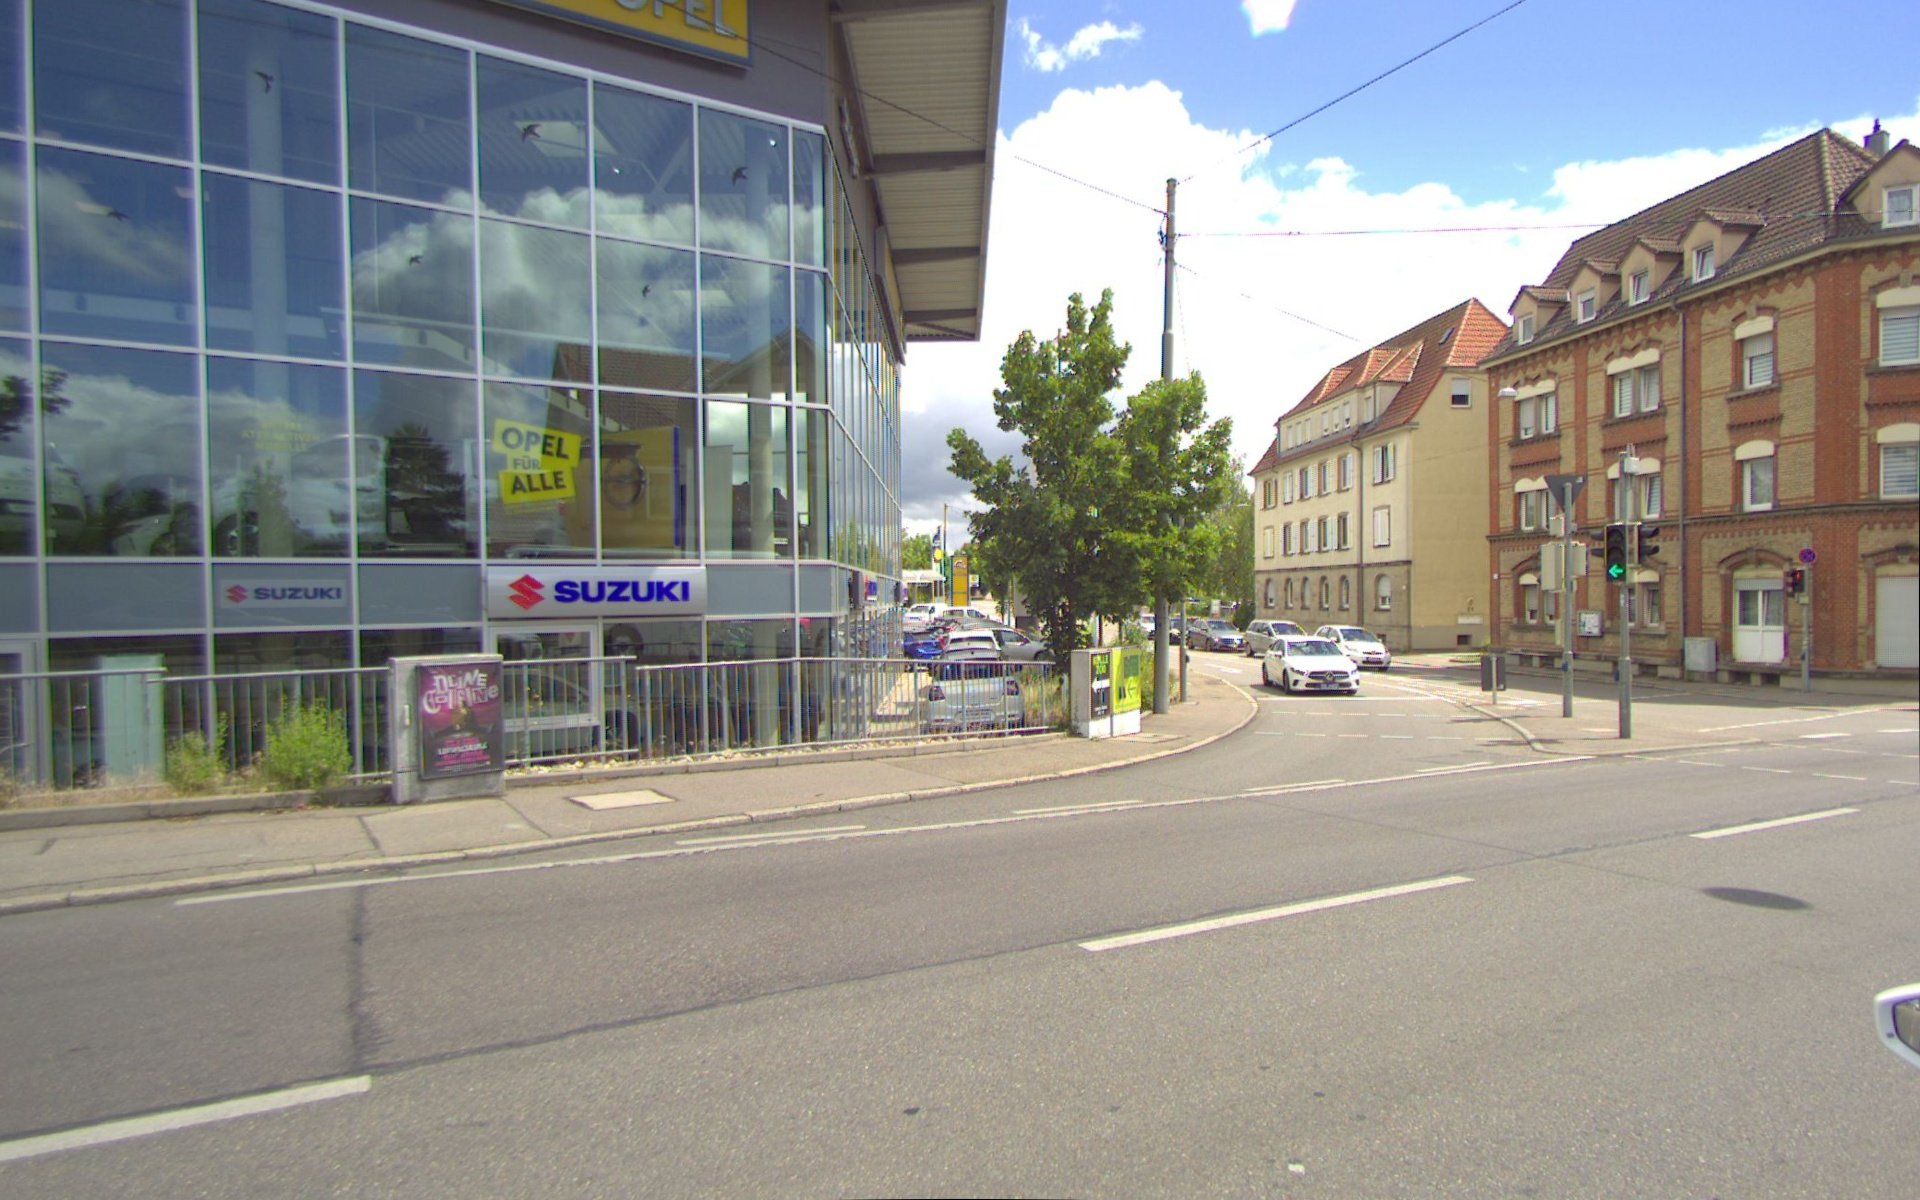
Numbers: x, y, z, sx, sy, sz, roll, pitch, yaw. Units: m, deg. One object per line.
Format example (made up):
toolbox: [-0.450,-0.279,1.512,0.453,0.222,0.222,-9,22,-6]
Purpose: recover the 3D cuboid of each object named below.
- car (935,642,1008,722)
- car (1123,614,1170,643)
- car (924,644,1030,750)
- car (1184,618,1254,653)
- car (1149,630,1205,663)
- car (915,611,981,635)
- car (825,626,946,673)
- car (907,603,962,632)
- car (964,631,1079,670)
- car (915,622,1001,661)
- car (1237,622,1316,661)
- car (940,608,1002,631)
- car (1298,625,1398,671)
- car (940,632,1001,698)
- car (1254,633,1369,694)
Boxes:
car: [0.190,1.799,22.904,1.487,1.543,3.792,1,-1,-2]
car: [11.525,1.739,62.351,1.908,1.743,3.998,1,-1,-4]
car: [0.359,1.713,18.755,1.720,1.596,3.688,3,-1,2]
car: [12.610,1.707,49.152,1.963,1.539,3.996,2,-1,-7]
car: [11.747,2.474,54.620,1.961,1.607,4.345,1,-1,-3]
car: [-0.724,1.405,61.627,3.921,1.311,1.818,1,-1,0]
car: [-2.620,1.719,35.407,3.919,1.478,1.605,1,-1,15]
car: [-1.832,1.348,74.558,2.201,2.040,4.927,1,-1,24]
car: [2.113,1.754,35.417,3.921,1.202,1.818,1,-1,0]
car: [-0.151,1.786,44.199,1.974,1.599,4.476,2,-2,-26]
car: [13.557,1.751,43.212,1.715,1.539,3.996,2,-1,-7]
car: [0.691,1.251,64.870,3.921,1.311,1.818,1,-1,0]
car: [13.970,1.690,36.395,1.670,1.517,3.996,2,-1,-7]
car: [0.235,1.700,27.298,1.487,1.596,3.414,1,-1,-2]
car: [9.309,1.641,26.978,1.825,1.466,4.394,-2,-2,5]
